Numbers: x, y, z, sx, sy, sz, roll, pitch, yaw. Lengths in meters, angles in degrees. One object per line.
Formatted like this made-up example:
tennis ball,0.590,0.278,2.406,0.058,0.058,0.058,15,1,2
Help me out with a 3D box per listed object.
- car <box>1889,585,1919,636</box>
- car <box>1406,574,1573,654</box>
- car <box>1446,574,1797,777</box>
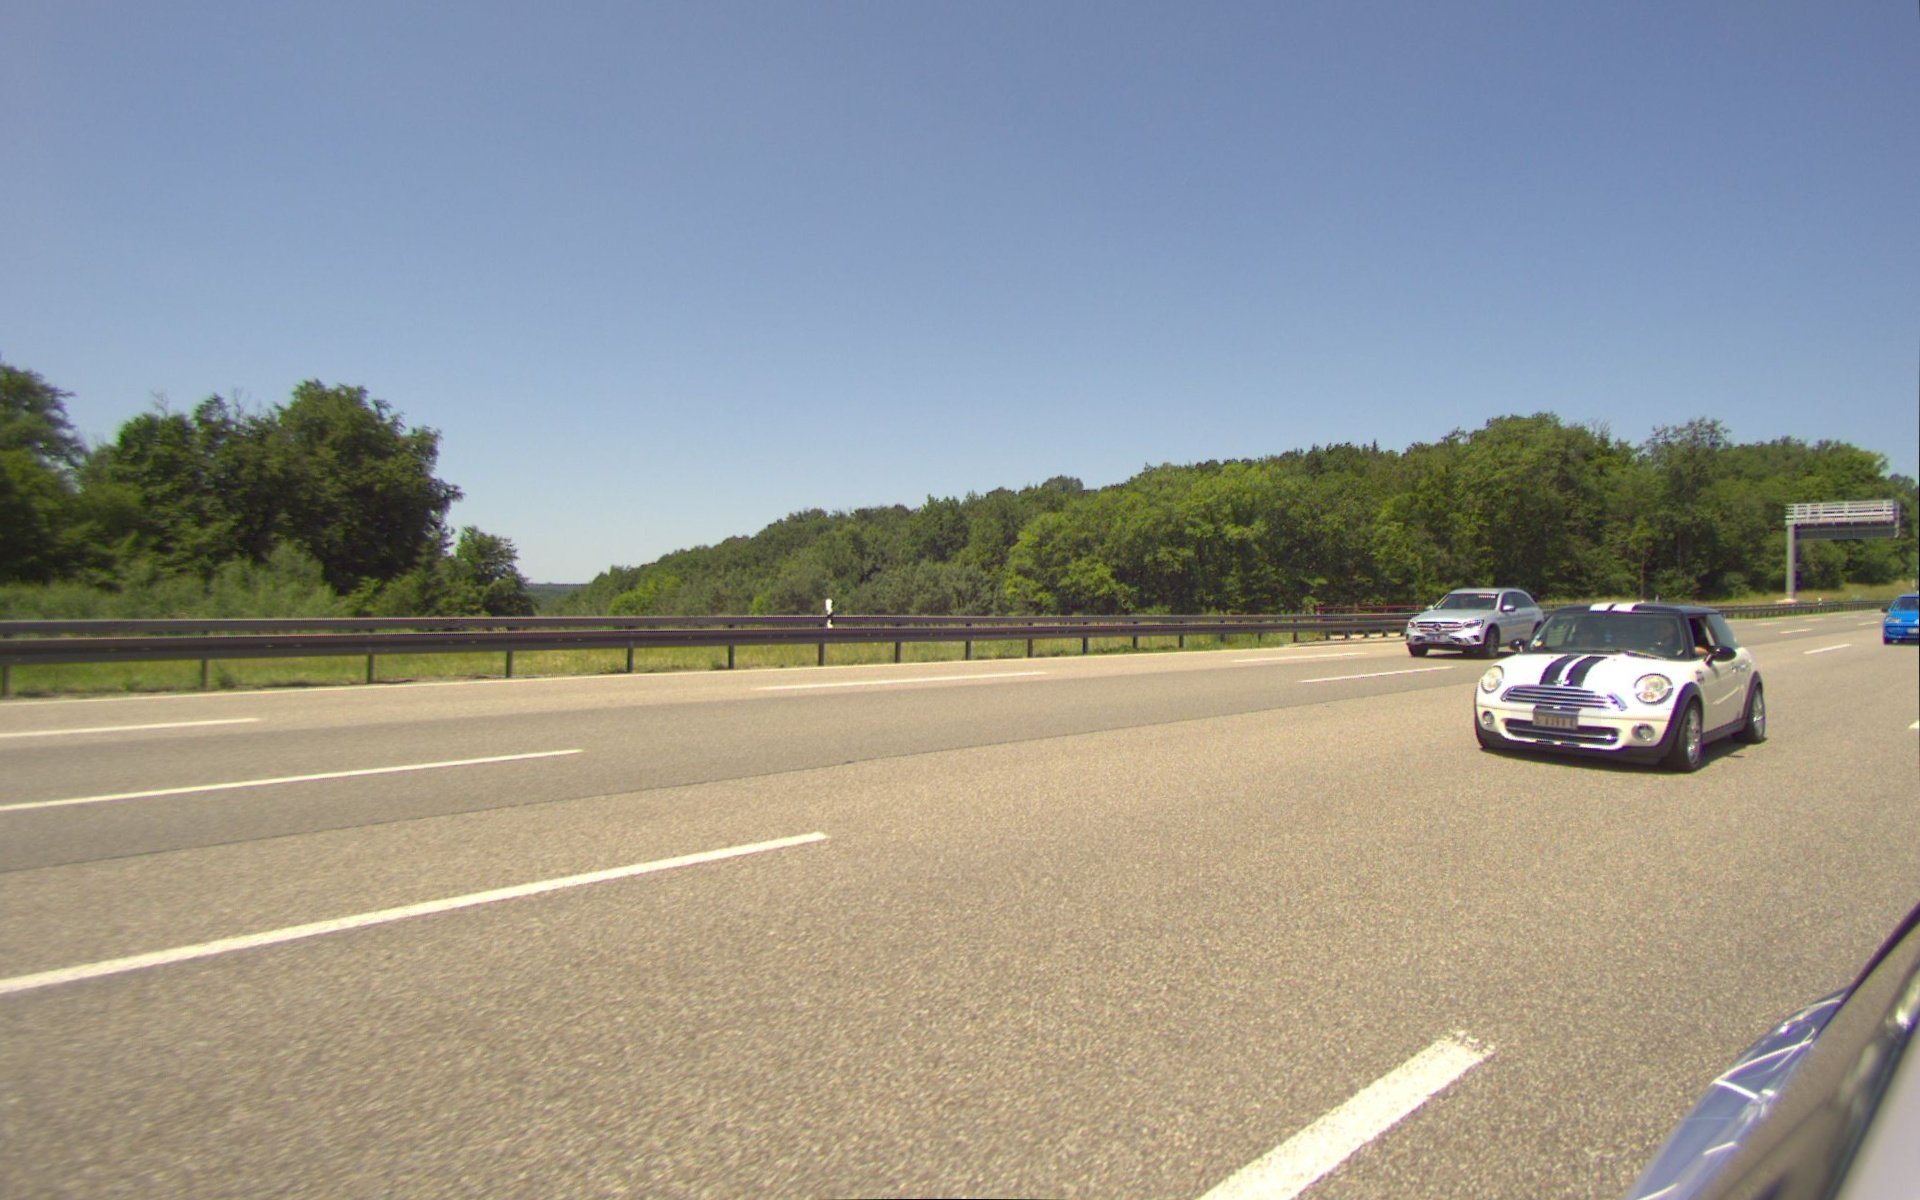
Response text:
car,28.447,0.290,29.330,3.929,1.429,1.741,0,0,-40
car,12.987,0.337,24.687,5.146,1.753,1.804,1,-1,-40
car,6.550,0.534,9.871,3.930,1.571,1.845,-1,2,-41
